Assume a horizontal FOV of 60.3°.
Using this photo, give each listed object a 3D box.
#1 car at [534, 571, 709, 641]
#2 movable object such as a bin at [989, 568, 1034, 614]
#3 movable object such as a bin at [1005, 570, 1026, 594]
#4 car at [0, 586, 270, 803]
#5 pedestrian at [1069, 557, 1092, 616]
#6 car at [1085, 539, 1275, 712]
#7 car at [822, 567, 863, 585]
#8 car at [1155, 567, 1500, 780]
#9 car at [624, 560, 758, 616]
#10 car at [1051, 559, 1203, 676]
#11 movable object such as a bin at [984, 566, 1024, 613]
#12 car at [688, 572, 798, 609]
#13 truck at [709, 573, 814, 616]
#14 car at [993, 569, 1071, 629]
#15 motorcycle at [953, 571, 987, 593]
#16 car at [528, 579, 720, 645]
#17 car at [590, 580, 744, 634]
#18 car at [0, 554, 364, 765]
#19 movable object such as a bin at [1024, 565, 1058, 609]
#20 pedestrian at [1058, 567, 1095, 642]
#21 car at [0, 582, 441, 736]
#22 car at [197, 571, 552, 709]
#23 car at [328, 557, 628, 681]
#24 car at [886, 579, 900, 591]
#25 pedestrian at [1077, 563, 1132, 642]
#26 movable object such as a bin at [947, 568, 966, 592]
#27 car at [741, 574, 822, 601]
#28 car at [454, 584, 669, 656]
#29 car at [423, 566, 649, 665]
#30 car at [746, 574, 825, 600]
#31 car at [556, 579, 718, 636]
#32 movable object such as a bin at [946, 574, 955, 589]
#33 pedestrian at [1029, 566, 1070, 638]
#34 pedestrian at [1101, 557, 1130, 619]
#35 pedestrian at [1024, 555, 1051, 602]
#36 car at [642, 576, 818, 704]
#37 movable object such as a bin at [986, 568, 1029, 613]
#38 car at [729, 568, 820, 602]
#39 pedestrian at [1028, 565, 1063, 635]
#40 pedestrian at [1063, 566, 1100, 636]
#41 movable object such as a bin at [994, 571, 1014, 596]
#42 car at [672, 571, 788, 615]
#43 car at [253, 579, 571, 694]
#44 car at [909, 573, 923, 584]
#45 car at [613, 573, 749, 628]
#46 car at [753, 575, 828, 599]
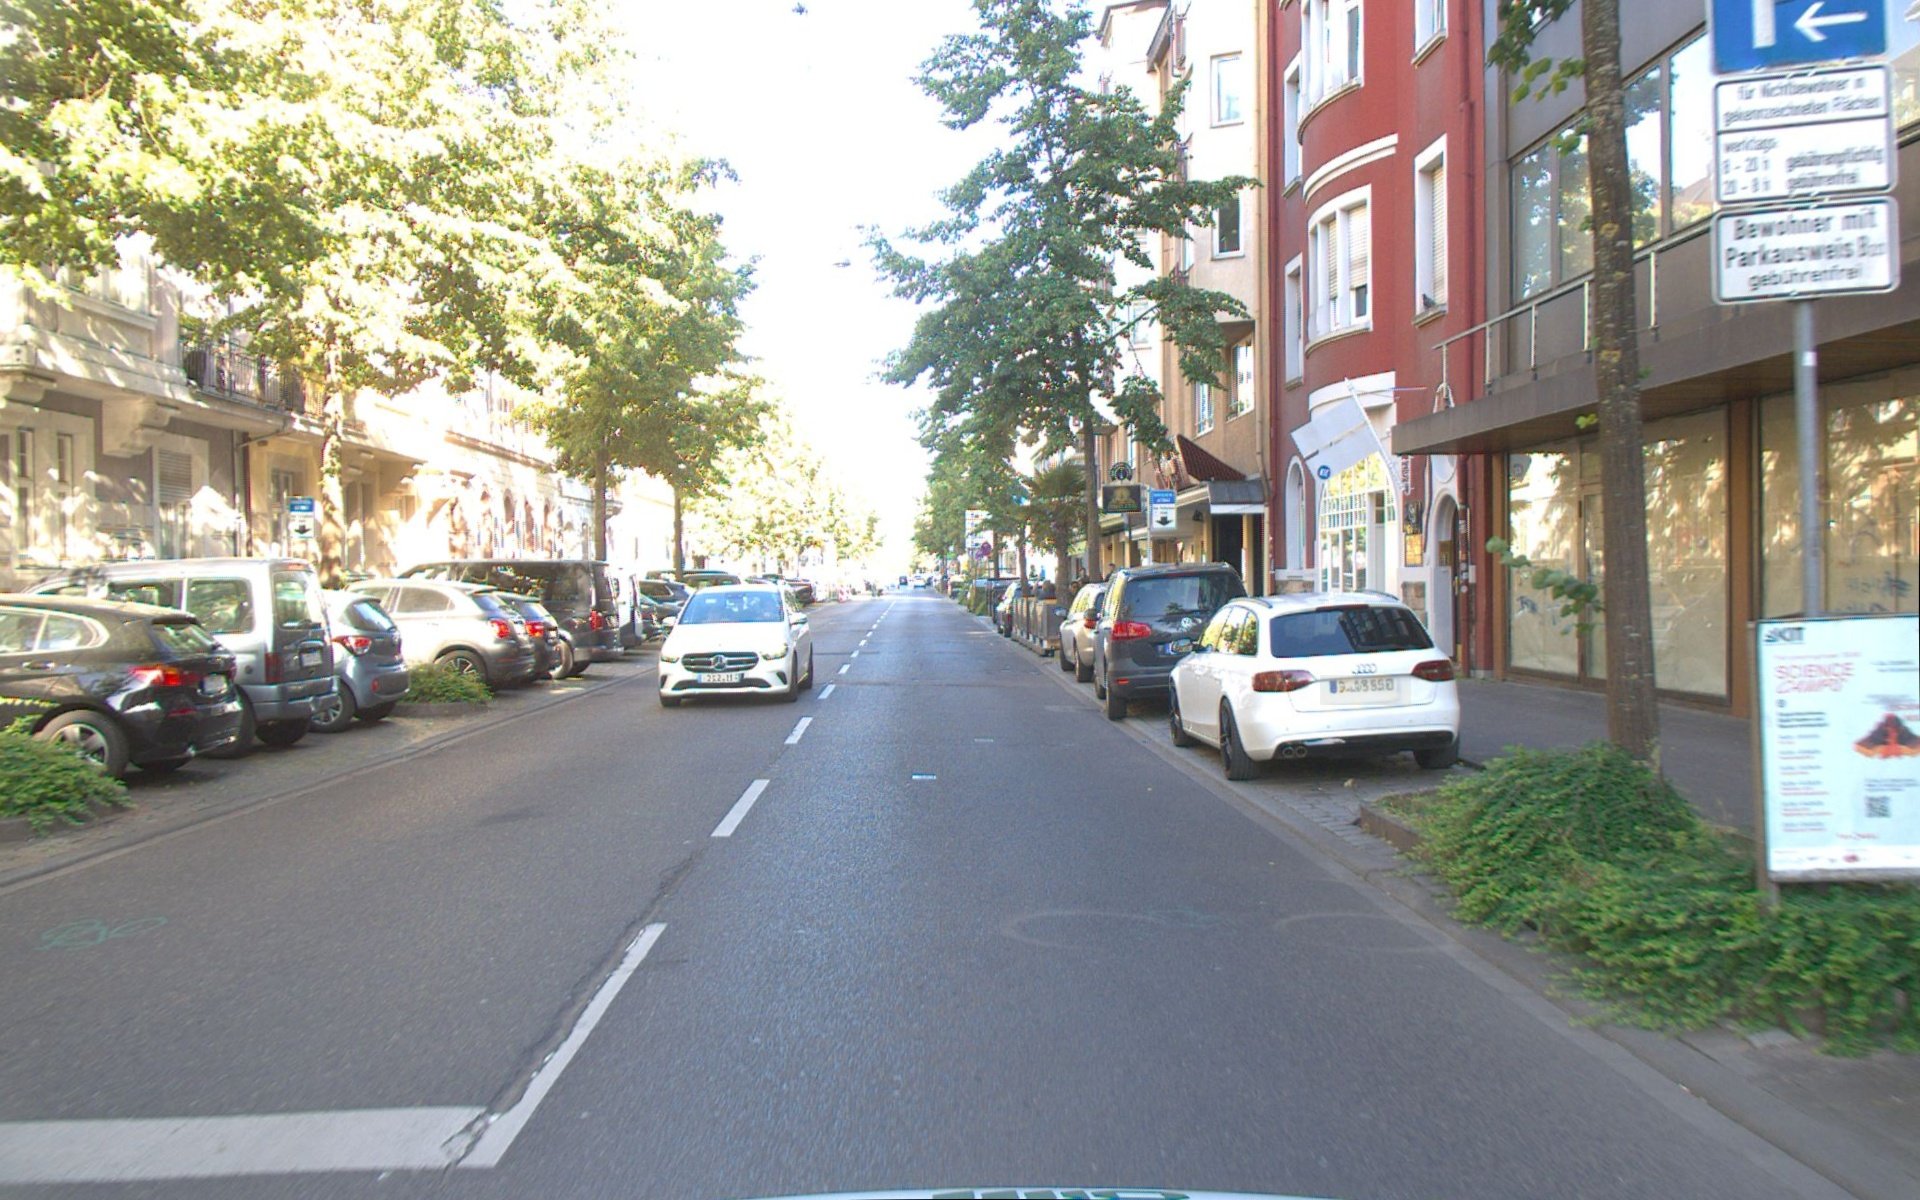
[{"bbox_3d":[-8.927,0.140,43.918,4.252,1.739,1.916,-1,1,-2],"label":"car"},{"bbox_3d":[1.712,-0.312,55.184,1.370,1.479,1.146,-2,1,-2],"label":"movable object such as a bin"},{"bbox_3d":[3.749,-1.215,111.874,1.245,1.557,1.176,-2,1,-3],"label":"movable object such as a bin"},{"bbox_3d":[-7.920,0.713,13.050,4.265,1.571,1.958,-1,1,-14],"label":"car"},{"bbox_3d":[3.605,-0.401,49.566,0.604,1.725,0.762,-2,1,1],"label":"pedestrian"},{"bbox_3d":[2.634,0.230,20.874,1.784,1.808,4.932,-4,1,2],"label":"car"},{"bbox_3d":[-11.785,-2.400,166.238,3.904,1.723,2.001,-2,1,3],"label":"car"},{"bbox_3d":[2.964,0.488,14.456,1.785,1.427,4.841,-4,1,-1],"label":"car"},{"bbox_3d":[-9.847,-0.455,60.775,4.585,1.984,1.916,-1,1,-1],"label":"car"},{"bbox_3d":[2.643,0.221,27.241,1.785,1.624,4.840,-4,1,-2],"label":"car"},{"bbox_3d":[1.529,-0.375,57.520,1.304,1.569,1.146,-2,1,-2],"label":"movable object such as a bin"},{"bbox_3d":[-9.451,-0.423,72.265,4.585,1.546,1.808,-1,1,-1],"label":"car"},{"bbox_3d":[-9.852,-0.286,82.516,4.983,1.972,1.999,-2,1,-3],"label":"truck"},{"bbox_3d":[1.973,-0.073,46.647,1.786,1.497,4.910,-4,1,-2],"label":"car"},{"bbox_3d":[0.639,-1.164,105.367,1.944,1.353,0.908,-2,1,-14],"label":"motorcycle"},{"bbox_3d":[-8.359,0.283,41.450,4.374,1.568,1.917,-1,1,0],"label":"car"},{"bbox_3d":[-9.017,0.210,51.138,4.373,1.568,1.917,-1,1,2],"label":"car"},{"bbox_3d":[-8.176,0.528,15.763,4.250,1.856,1.930,-1,1,0],"label":"car"},{"bbox_3d":[2.808,-0.461,57.566,1.056,1.456,1.295,-2,1,-2],"label":"movable object such as a bin"},{"bbox_3d":[2.491,0.089,35.495,0.678,1.563,0.776,-2,1,-1],"label":"pedestrian"},{"bbox_3d":[-8.233,0.614,18.434,4.249,1.571,1.917,-1,1,2],"label":"car"},{"bbox_3d":[-8.023,0.514,23.020,4.253,1.763,1.915,-1,1,-4],"label":"car"},{"bbox_3d":[-8.076,0.300,28.018,4.479,1.960,1.930,-1,1,0],"label":"car"},{"bbox_3d":[-9.282,-2.075,228.098,1.767,1.459,4.407,-4,1,-3],"label":"car"},{"bbox_3d":[2.939,0.047,33.665,1.034,1.563,0.892,-2,1,2],"label":"pedestrian"},{"bbox_3d":[-0.266,-1.415,115.674,1.118,1.589,1.460,-2,1,6],"label":"movable object such as a bin"},{"bbox_3d":[-10.312,-0.714,95.818,4.589,1.490,1.806,-1,1,-5],"label":"car"},{"bbox_3d":[-8.617,0.415,36.092,4.253,1.464,1.915,-1,1,-4],"label":"car"},{"bbox_3d":[-8.441,0.282,33.298,4.263,1.866,1.911,-1,1,-12],"label":"car"},{"bbox_3d":[-10.362,-0.769,98.544,4.589,1.490,1.806,-1,1,-5],"label":"car"},{"bbox_3d":[-9.388,0.213,48.363,4.377,1.568,1.916,-1,1,-3],"label":"car"},{"bbox_3d":[-0.782,-1.513,132.779,0.609,1.200,0.711,-2,1,-4],"label":"movable object such as a bin"},{"bbox_3d":[1.988,0.042,36.595,0.733,1.563,0.808,-2,1,13],"label":"pedestrian"},{"bbox_3d":[4.351,-0.333,46.295,0.499,1.725,0.622,-2,1,-39],"label":"pedestrian"},{"bbox_3d":[3.303,-0.925,70.824,0.906,1.969,0.761,-1,1,23],"label":"pedestrian"},{"bbox_3d":[-3.075,0.474,22.954,1.871,1.571,4.353,-1,1,-1],"label":"car"},{"bbox_3d":[1.610,-0.320,56.359,1.370,1.479,1.146,-2,1,-2],"label":"movable object such as a bin"},{"bbox_3d":[-9.838,-0.796,87.922,4.585,1.723,1.808,-1,1,-1],"label":"car"},{"bbox_3d":[1.954,-0.010,37.893,0.637,1.563,0.979,-2,1,-3],"label":"pedestrian"},{"bbox_3d":[2.786,0.022,37.894,0.696,1.563,0.770,-2,1,13],"label":"pedestrian"},{"bbox_3d":[3.020,-1.156,113.219,1.181,1.656,1.497,-2,1,-3],"label":"movable object such as a bin"},{"bbox_3d":[-9.632,-0.308,69.540,4.585,1.742,1.808,-1,1,-1],"label":"car"},{"bbox_3d":[-8.326,0.528,25.430,4.253,1.623,1.915,-1,1,-4],"label":"car"},{"bbox_3d":[-5.891,-2.909,220.741,1.756,1.436,3.999,-2,1,-2],"label":"car"},{"bbox_3d":[-9.699,0.006,57.735,4.375,1.803,1.916,-1,1,-1],"label":"car"},{"bbox_3d":[-10.595,-0.844,103.791,4.589,1.437,1.806,-1,1,-5],"label":"car"}]
